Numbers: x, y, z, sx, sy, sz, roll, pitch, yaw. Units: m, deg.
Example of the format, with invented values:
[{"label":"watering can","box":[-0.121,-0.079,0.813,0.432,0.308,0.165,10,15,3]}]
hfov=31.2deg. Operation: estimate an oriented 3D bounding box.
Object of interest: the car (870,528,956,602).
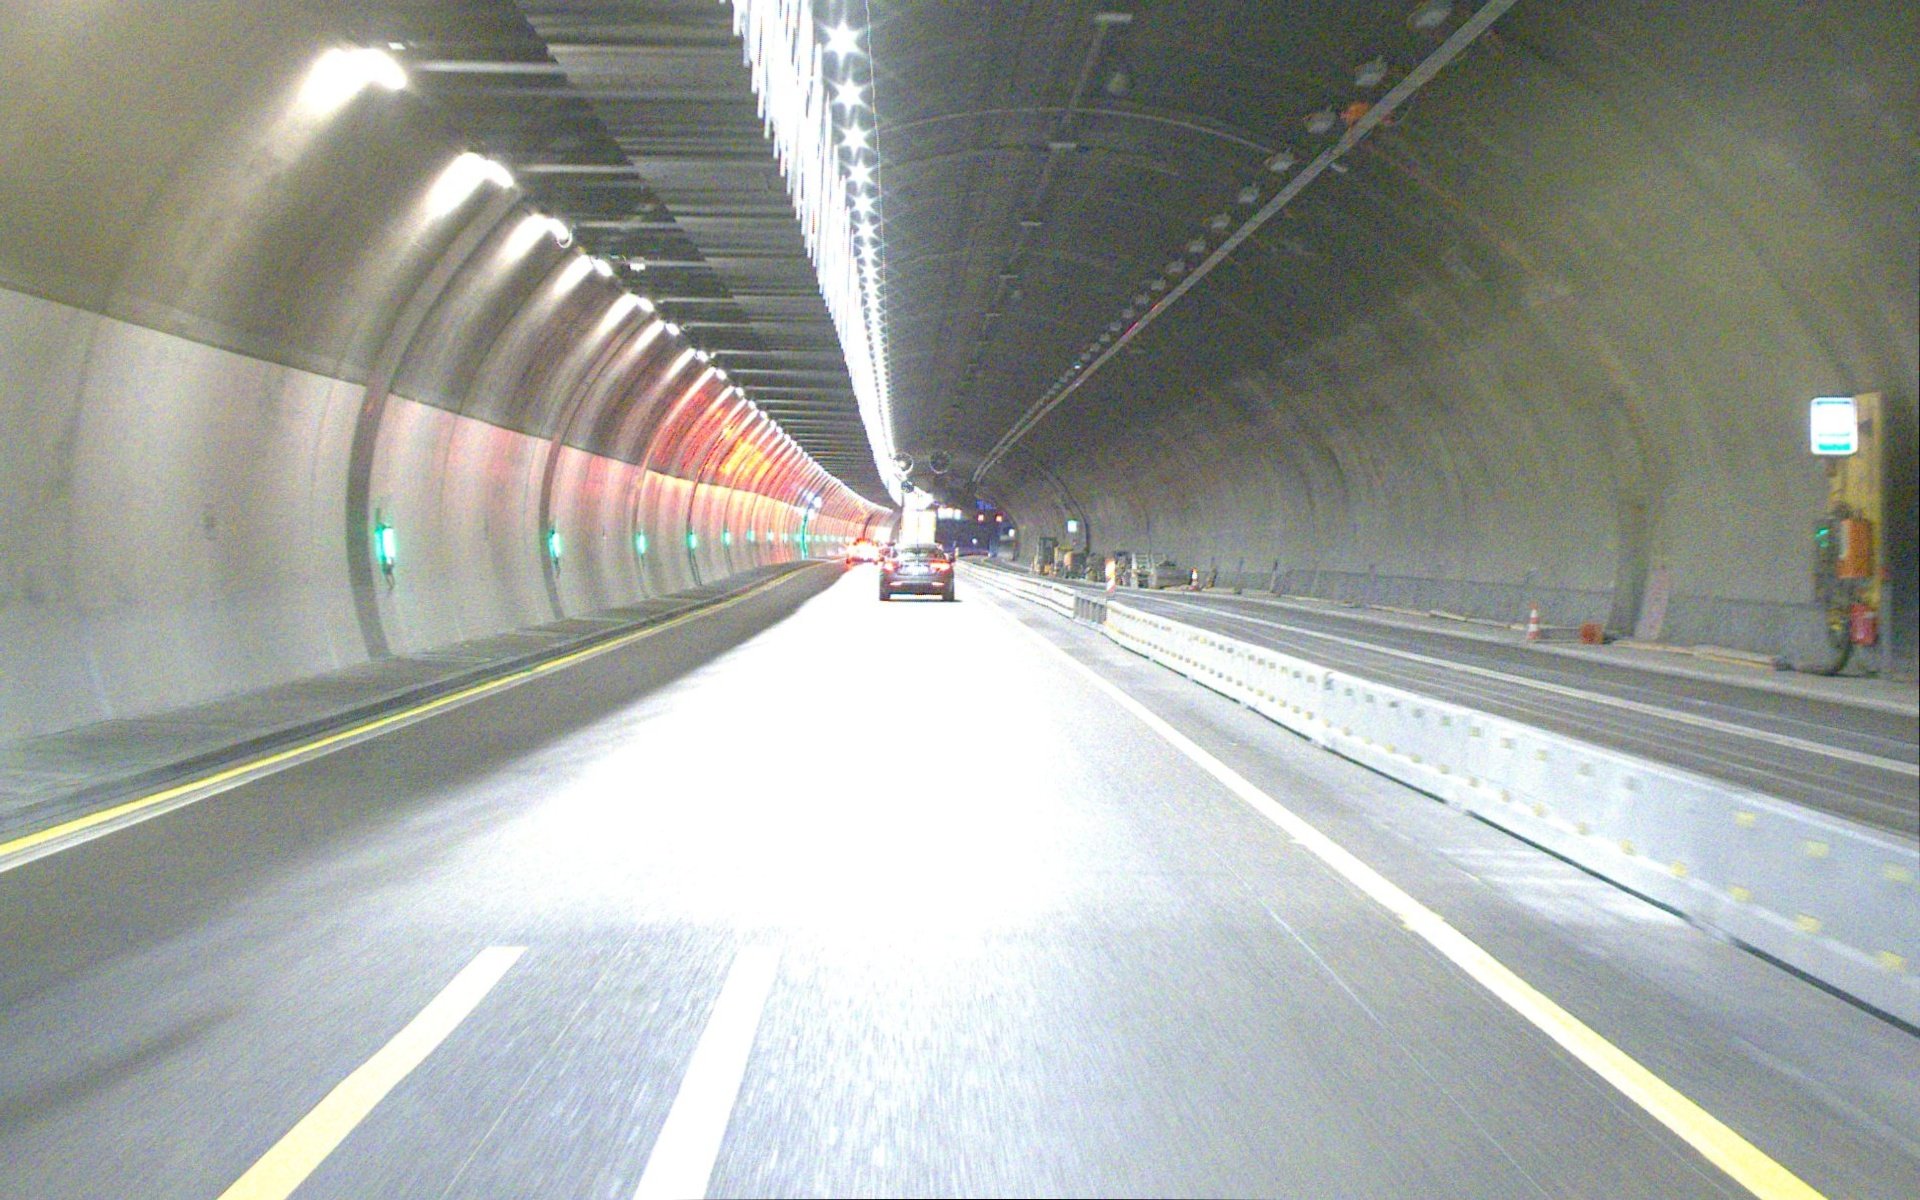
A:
[{"label":"car","box":[-1.206,-0.890,86.334,1.946,1.788,4.001,1,1,-3]}]

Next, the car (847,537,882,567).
[{"label":"car","box":[-5.489,-2.756,196.466,1.930,1.681,4.001,1,1,-2]}]

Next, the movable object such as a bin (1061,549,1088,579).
[{"label":"movable object such as a bin","box":[5.842,-1.848,175.576,1.234,1.437,2.217,3,1,-1]}]
